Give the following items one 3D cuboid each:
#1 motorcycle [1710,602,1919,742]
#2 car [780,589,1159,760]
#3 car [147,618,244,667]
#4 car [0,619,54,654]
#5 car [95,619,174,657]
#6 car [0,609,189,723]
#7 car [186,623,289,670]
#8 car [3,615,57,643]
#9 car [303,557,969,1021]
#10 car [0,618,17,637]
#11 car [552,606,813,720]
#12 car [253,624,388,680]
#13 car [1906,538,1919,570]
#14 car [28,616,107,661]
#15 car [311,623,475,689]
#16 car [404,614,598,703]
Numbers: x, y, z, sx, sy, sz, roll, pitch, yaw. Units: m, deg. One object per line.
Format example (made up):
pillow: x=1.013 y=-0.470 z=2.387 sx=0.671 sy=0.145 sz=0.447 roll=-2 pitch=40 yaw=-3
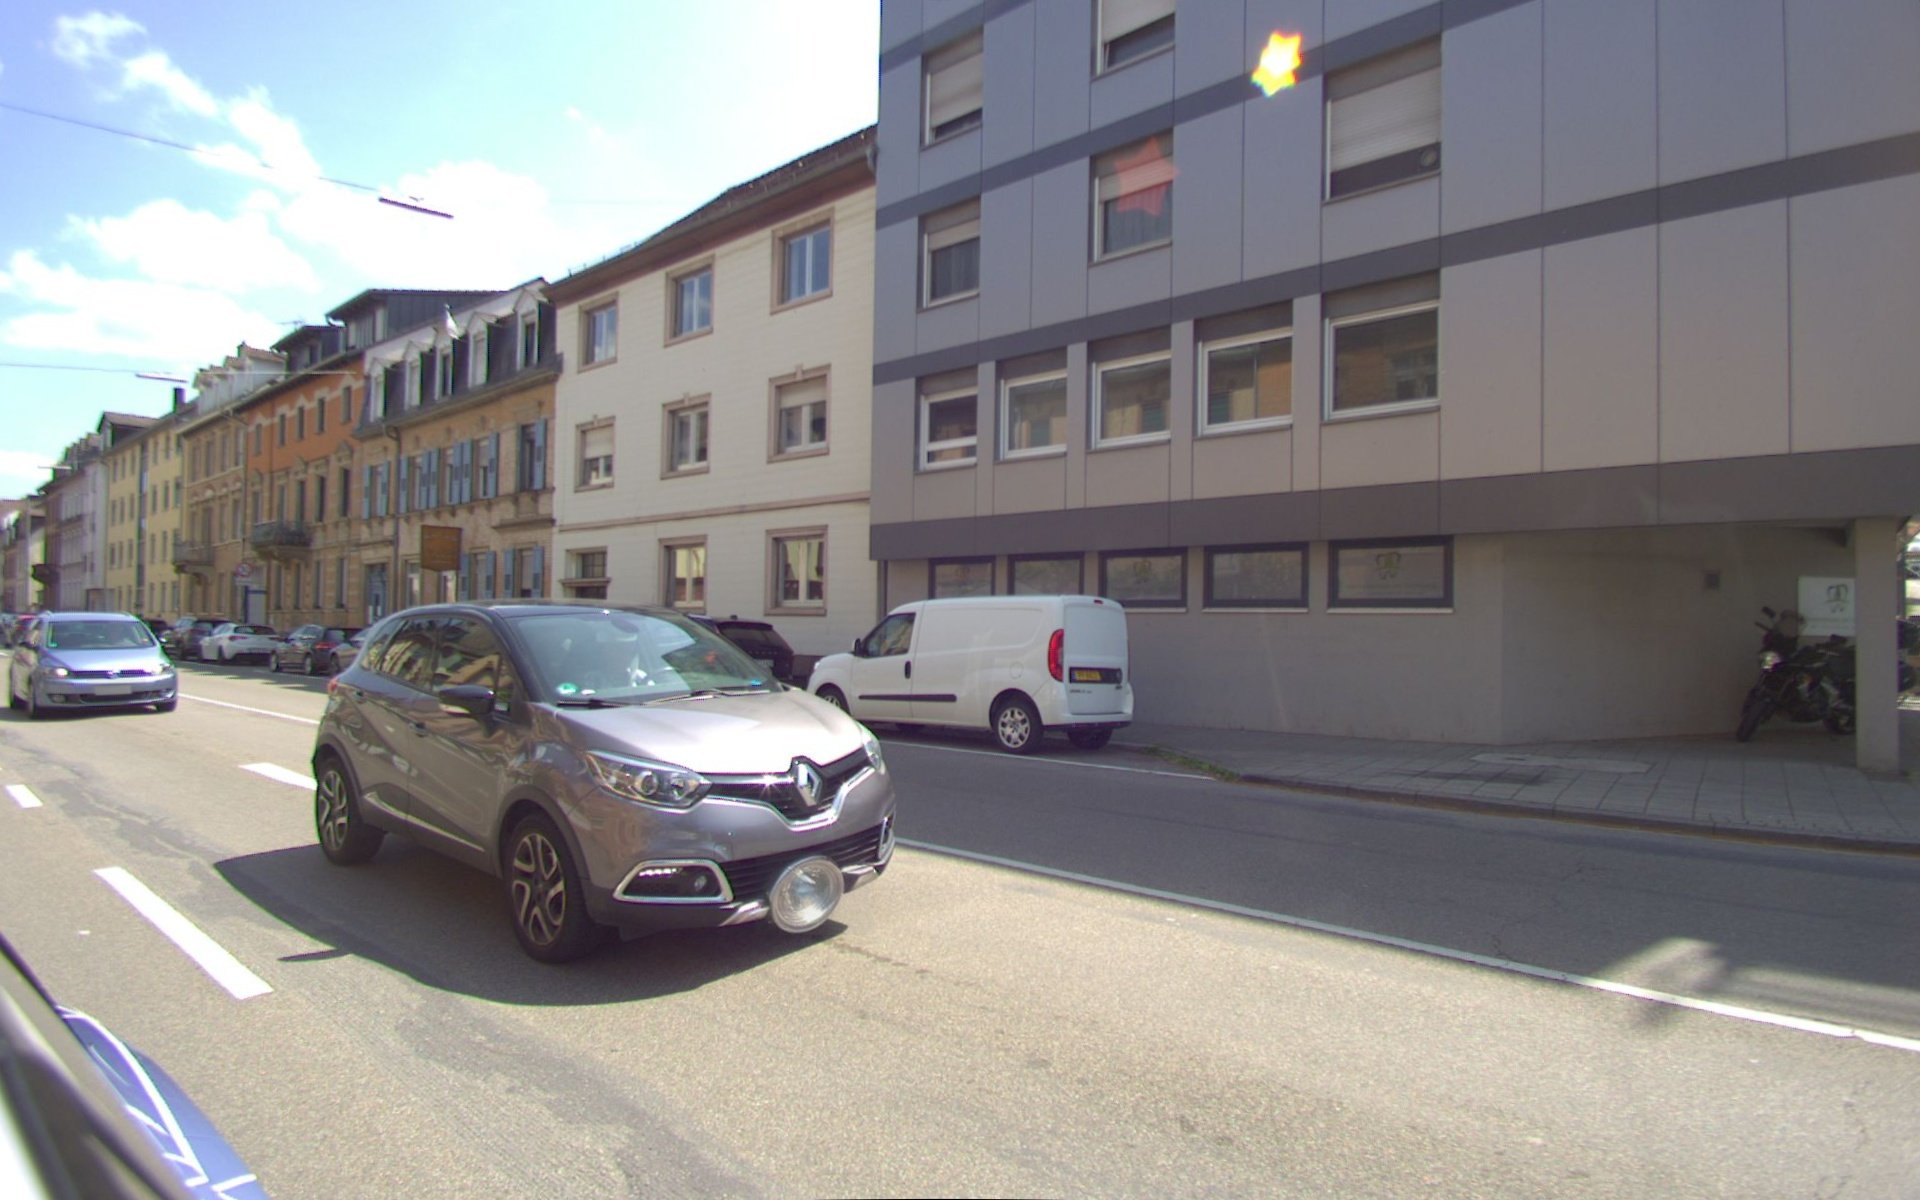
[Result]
motorcycle: x=9.673 y=0.768 z=11.352 sx=2.009 sy=1.483 sz=0.884 roll=0 pitch=-1 yaw=-11
car: x=-0.014 y=0.862 z=13.142 sx=4.784 sy=1.839 sz=1.894 roll=-1 pitch=-3 yaw=40
car: x=-28.940 y=1.599 z=38.273 sx=4.496 sy=1.640 sz=1.846 roll=0 pitch=-5 yaw=40
car: x=-42.114 y=1.638 z=45.409 sx=4.132 sy=1.489 sz=1.683 roll=-1 pitch=-3 yaw=42
car: x=-37.656 y=1.723 z=46.129 sx=4.497 sy=1.563 sz=1.846 roll=0 pitch=-5 yaw=40
car: x=-13.824 y=0.961 z=16.088 sx=3.998 sy=1.580 sz=1.736 roll=-1 pitch=-2 yaw=42
car: x=-25.011 y=1.581 z=34.996 sx=4.328 sy=1.437 sz=1.845 roll=-1 pitch=-6 yaw=41
car: x=-58.257 y=1.834 z=63.451 sx=1.721 sy=1.600 sz=3.963 roll=6 pitch=-5 yaw=-33
car: x=-2.018 y=0.710 z=5.597 sx=3.999 sy=1.644 sz=1.735 roll=-1 pitch=-1 yaw=42
car: x=-75.815 y=2.102 z=79.574 sx=4.099 sy=1.421 sz=1.728 roll=0 pitch=-5 yaw=38
car: x=-4.763 y=0.982 z=17.012 sx=4.659 sy=1.653 sz=1.866 roll=-1 pitch=-3 yaw=40
car: x=-18.595 y=1.489 z=29.369 sx=4.325 sy=1.417 sz=1.847 roll=0 pitch=-5 yaw=38
car: x=46.380 y=-2.205 z=47.889 sx=1.754 sy=1.458 sz=3.697 roll=-1 pitch=2 yaw=34
car: x=-33.535 y=1.422 z=37.986 sx=4.310 sy=1.587 sz=1.683 roll=-1 pitch=-3 yaw=42
car: x=-14.440 y=1.393 z=25.675 sx=4.832 sy=1.417 sz=1.847 roll=0 pitch=-5 yaw=39
car: x=-9.665 y=1.154 z=21.116 sx=4.816 sy=1.653 sz=1.865 roll=-1 pitch=-3 yaw=42
